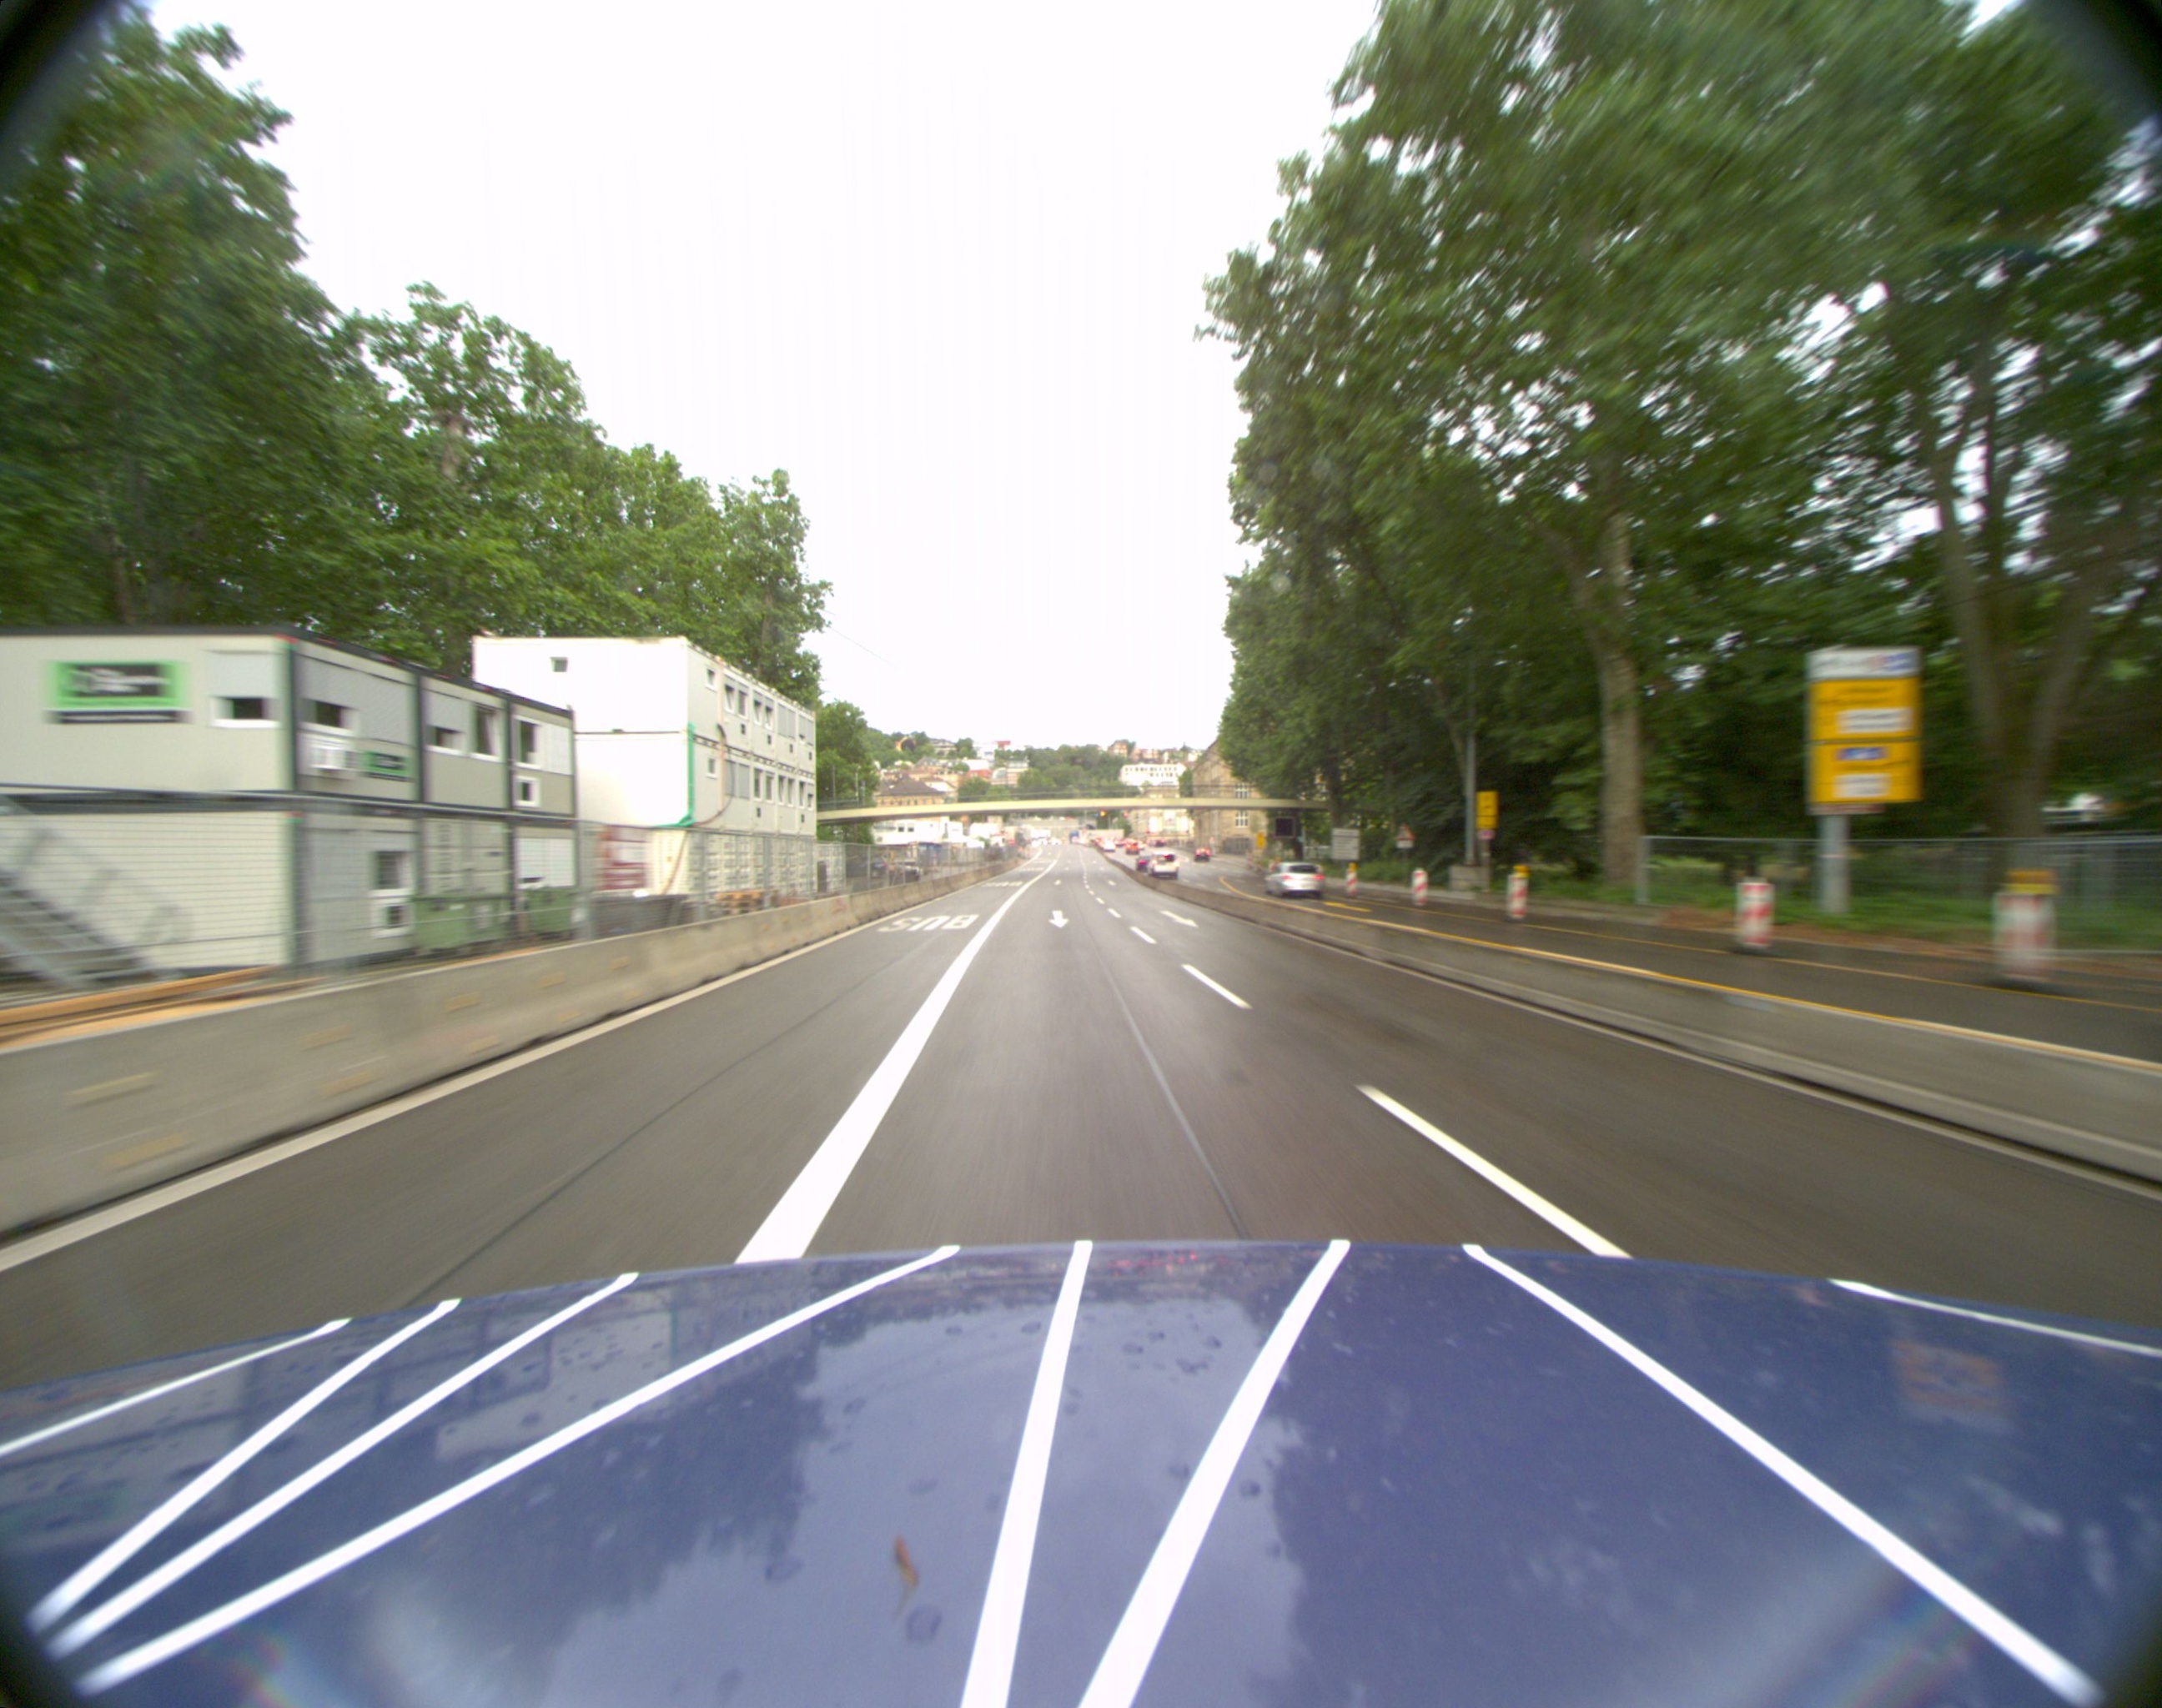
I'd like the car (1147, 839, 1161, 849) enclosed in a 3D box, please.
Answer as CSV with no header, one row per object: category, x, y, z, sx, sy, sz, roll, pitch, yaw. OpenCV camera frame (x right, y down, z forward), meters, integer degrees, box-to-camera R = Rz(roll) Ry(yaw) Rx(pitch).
car,15.577,-2.199,161.348,2.000,2.003,3.995,1,3,-9

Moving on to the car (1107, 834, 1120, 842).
car,6.909,-3.382,162.425,2.000,1.547,4.207,1,3,-6

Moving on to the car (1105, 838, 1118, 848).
car,5.197,-1.828,130.045,1.899,1.559,4.895,1,3,-2

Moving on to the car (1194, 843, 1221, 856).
car,15.876,-0.526,95.436,2.032,1.643,4.327,0,0,28

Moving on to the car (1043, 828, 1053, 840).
car,-11.078,-6.690,252.991,2.836,3.992,8.720,1,3,0

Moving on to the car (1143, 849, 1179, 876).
car,5.533,0.547,52.883,2.036,1.644,4.910,1,1,1

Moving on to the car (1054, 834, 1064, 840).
car,-5.746,-4.411,197.674,2.000,1.562,3.994,1,3,-9

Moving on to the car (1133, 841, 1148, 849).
car,10.923,-1.737,140.753,2.000,1.375,4.207,1,3,-6

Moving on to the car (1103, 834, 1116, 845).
car,5.041,-2.580,136.786,1.914,1.856,4.375,1,3,-3

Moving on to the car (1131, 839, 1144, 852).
car,9.022,-1.401,121.948,2.035,1.926,5.043,1,3,3

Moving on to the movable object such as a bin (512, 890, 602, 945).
movable object such as a bin,-12.214,1.466,17.775,1.250,1.117,1.238,1,3,-2

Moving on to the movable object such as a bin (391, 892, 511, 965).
movable object such as a bin,-12.083,1.409,14.629,1.250,1.230,1.238,1,3,-2

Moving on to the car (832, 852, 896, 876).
car,-16.949,0.735,59.589,4.512,1.718,1.998,-1,2,-6

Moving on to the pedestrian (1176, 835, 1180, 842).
pedestrian,20.551,-3.258,160.237,0.618,1.576,0.734,1,3,-8

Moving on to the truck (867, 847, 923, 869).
truck,-18.799,0.401,77.007,5.170,2.003,2.406,-1,3,-7

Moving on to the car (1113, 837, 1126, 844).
car,7.873,-2.785,154.817,1.999,1.375,4.208,1,3,-5

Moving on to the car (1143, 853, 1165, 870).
car,6.124,0.608,64.136,1.715,1.331,4.062,3,1,4

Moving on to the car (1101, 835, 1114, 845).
car,4.953,-2.645,143.373,1.999,1.856,5.591,1,3,-2

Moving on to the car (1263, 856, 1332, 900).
car,9.052,0.961,32.105,1.873,1.532,4.089,1,3,2

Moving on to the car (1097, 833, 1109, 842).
car,4.462,-3.441,156.877,1.999,1.559,5.377,1,3,-4
